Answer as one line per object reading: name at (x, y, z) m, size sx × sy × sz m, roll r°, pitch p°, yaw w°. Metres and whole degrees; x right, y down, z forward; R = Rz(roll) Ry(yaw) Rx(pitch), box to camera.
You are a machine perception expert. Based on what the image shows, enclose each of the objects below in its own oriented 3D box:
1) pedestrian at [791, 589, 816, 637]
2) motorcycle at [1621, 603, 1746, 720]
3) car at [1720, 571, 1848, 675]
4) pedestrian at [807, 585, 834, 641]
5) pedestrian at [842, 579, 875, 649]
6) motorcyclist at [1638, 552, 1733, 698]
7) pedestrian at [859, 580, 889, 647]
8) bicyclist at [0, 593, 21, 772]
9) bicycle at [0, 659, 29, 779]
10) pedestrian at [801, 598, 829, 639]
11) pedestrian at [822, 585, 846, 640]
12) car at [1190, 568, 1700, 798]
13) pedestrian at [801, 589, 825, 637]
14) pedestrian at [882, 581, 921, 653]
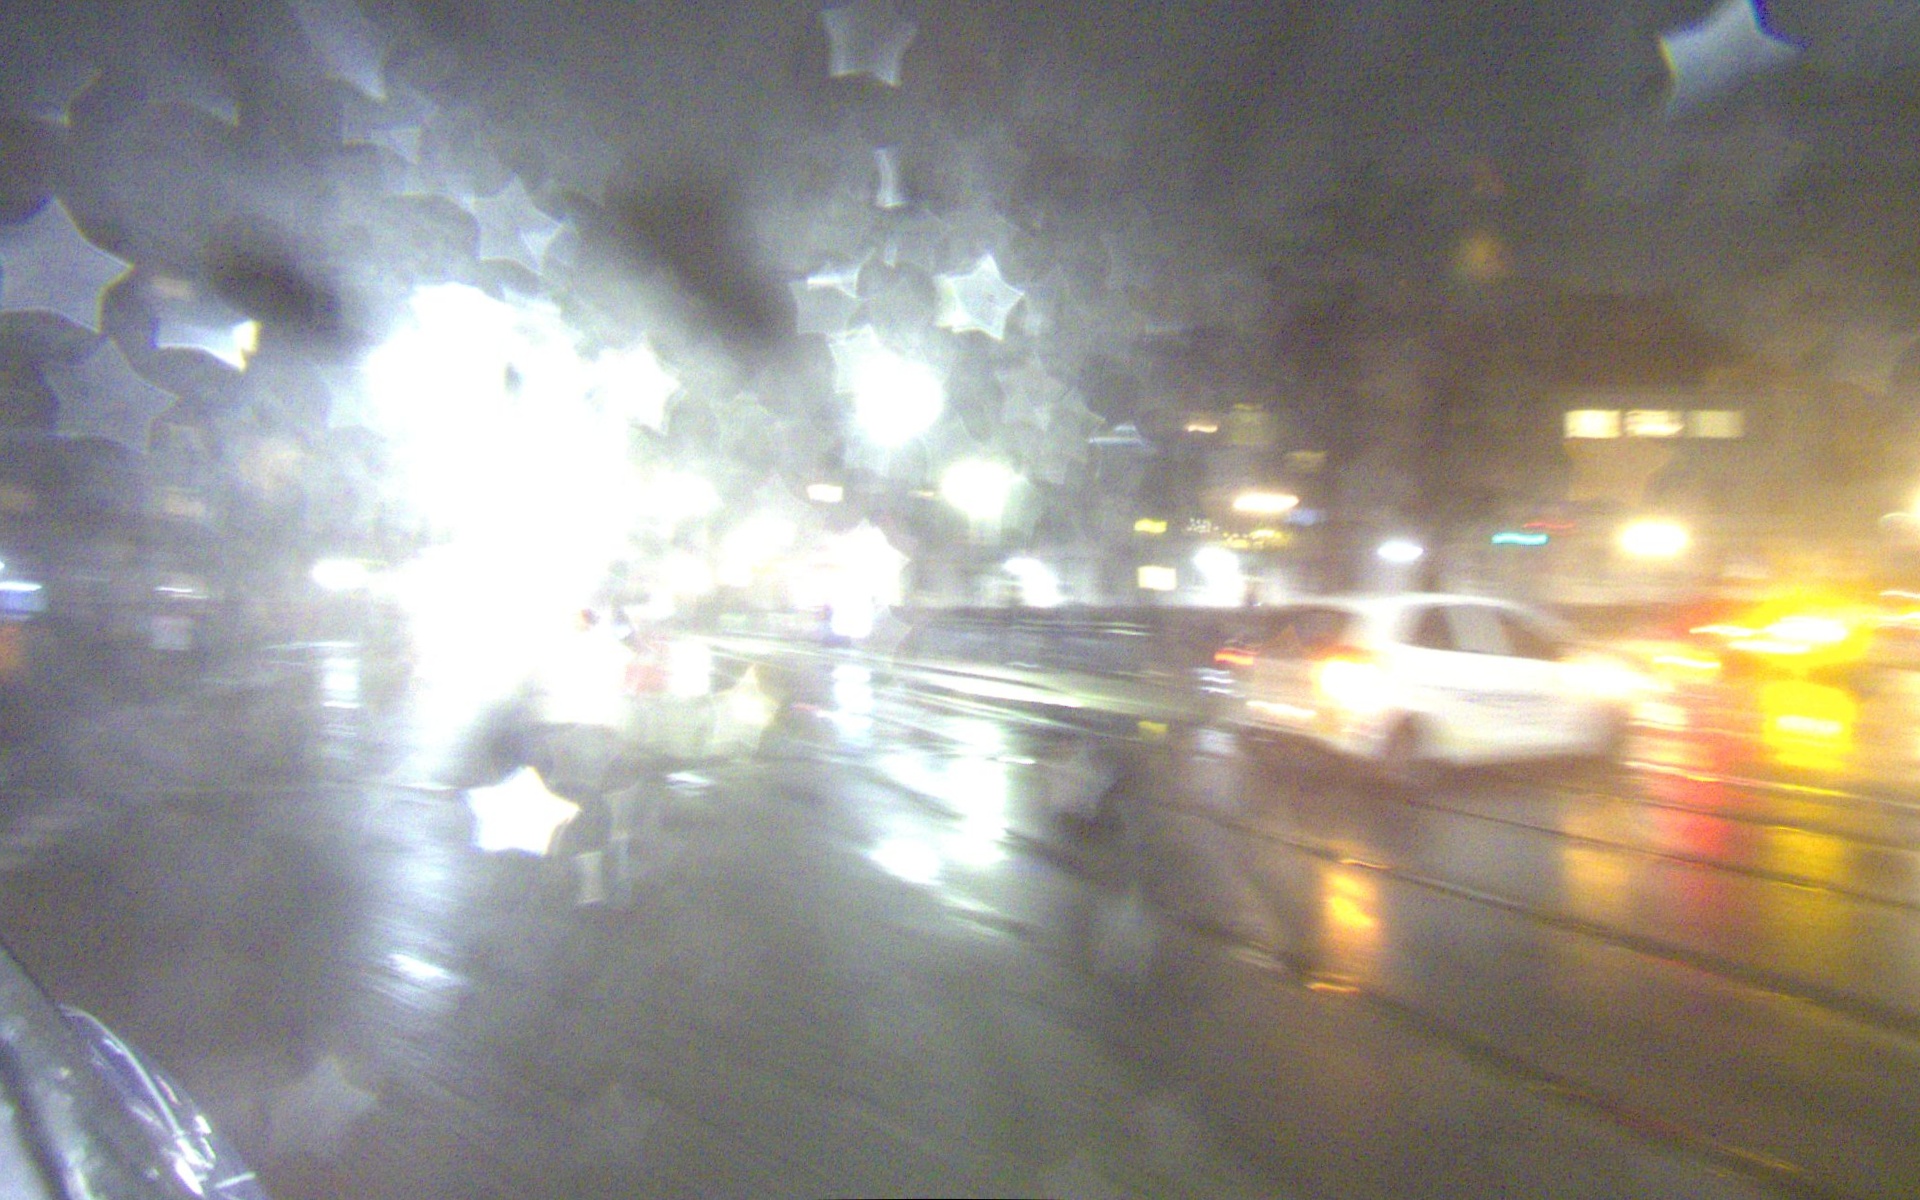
pedestrian at (-5.194, 0.427, 33.576) m, size 0.504 × 1.559 × 0.576 m, roll -4°, pitch 2°, yaw -42°
motorcycle at (8.942, 0.697, 12.468) m, size 2.216 × 1.221 × 0.793 m, roll -3°, pitch 2°, yaw -42°
car at (16.106, 0.356, 19.715) m, size 1.754 × 1.752 × 3.746 m, roll 0°, pitch 3°, yaw 42°
pedestrian at (-4.296, 0.400, 31.204) m, size 0.556 × 1.664 × 0.581 m, roll -2°, pitch 2°, yaw 22°
pedestrian at (-2.978, 0.402, 29.658) m, size 0.599 × 2.001 × 0.862 m, roll -4°, pitch 2°, yaw -27°
motorcyclist at (8.893, 0.275, 12.408) m, size 0.807 × 1.707 × 0.793 m, roll -3°, pitch 2°, yaw -42°
pedestrian at (-2.370, 0.359, 27.854) m, size 0.706 × 1.787 × 0.672 m, roll -3°, pitch 2°, yaw -5°
bicyclist at (-8.849, 0.733, 8.985) m, size 0.563 × 1.559 × 0.818 m, roll -4°, pitch 2°, yaw -35°
bicycle at (-8.835, 1.074, 8.985) m, size 0.563 × 0.976 × 1.785 m, roll -4°, pitch 2°, yaw -35°
pedestrian at (-4.577, 0.579, 32.035) m, size 0.620 × 1.263 × 0.581 m, roll -2°, pitch 2°, yaw 22°
pedestrian at (-3.833, 0.394, 30.907) m, size 0.529 × 1.641 × 0.397 m, roll -2°, pitch 2°, yaw 23°
car at (3.999, 0.541, 8.476) m, size 3.535 × 1.527 × 1.932 m, roll -1°, pitch 1°, yaw -21°
pedestrian at (-4.816, 0.426, 33.138) m, size 0.472 × 1.539 × 0.587 m, roll -4°, pitch 2°, yaw -42°
pedestrian at (-1.513, 0.432, 26.068) m, size 0.660 × 1.787 × 0.719 m, roll -4°, pitch 2°, yaw -34°
